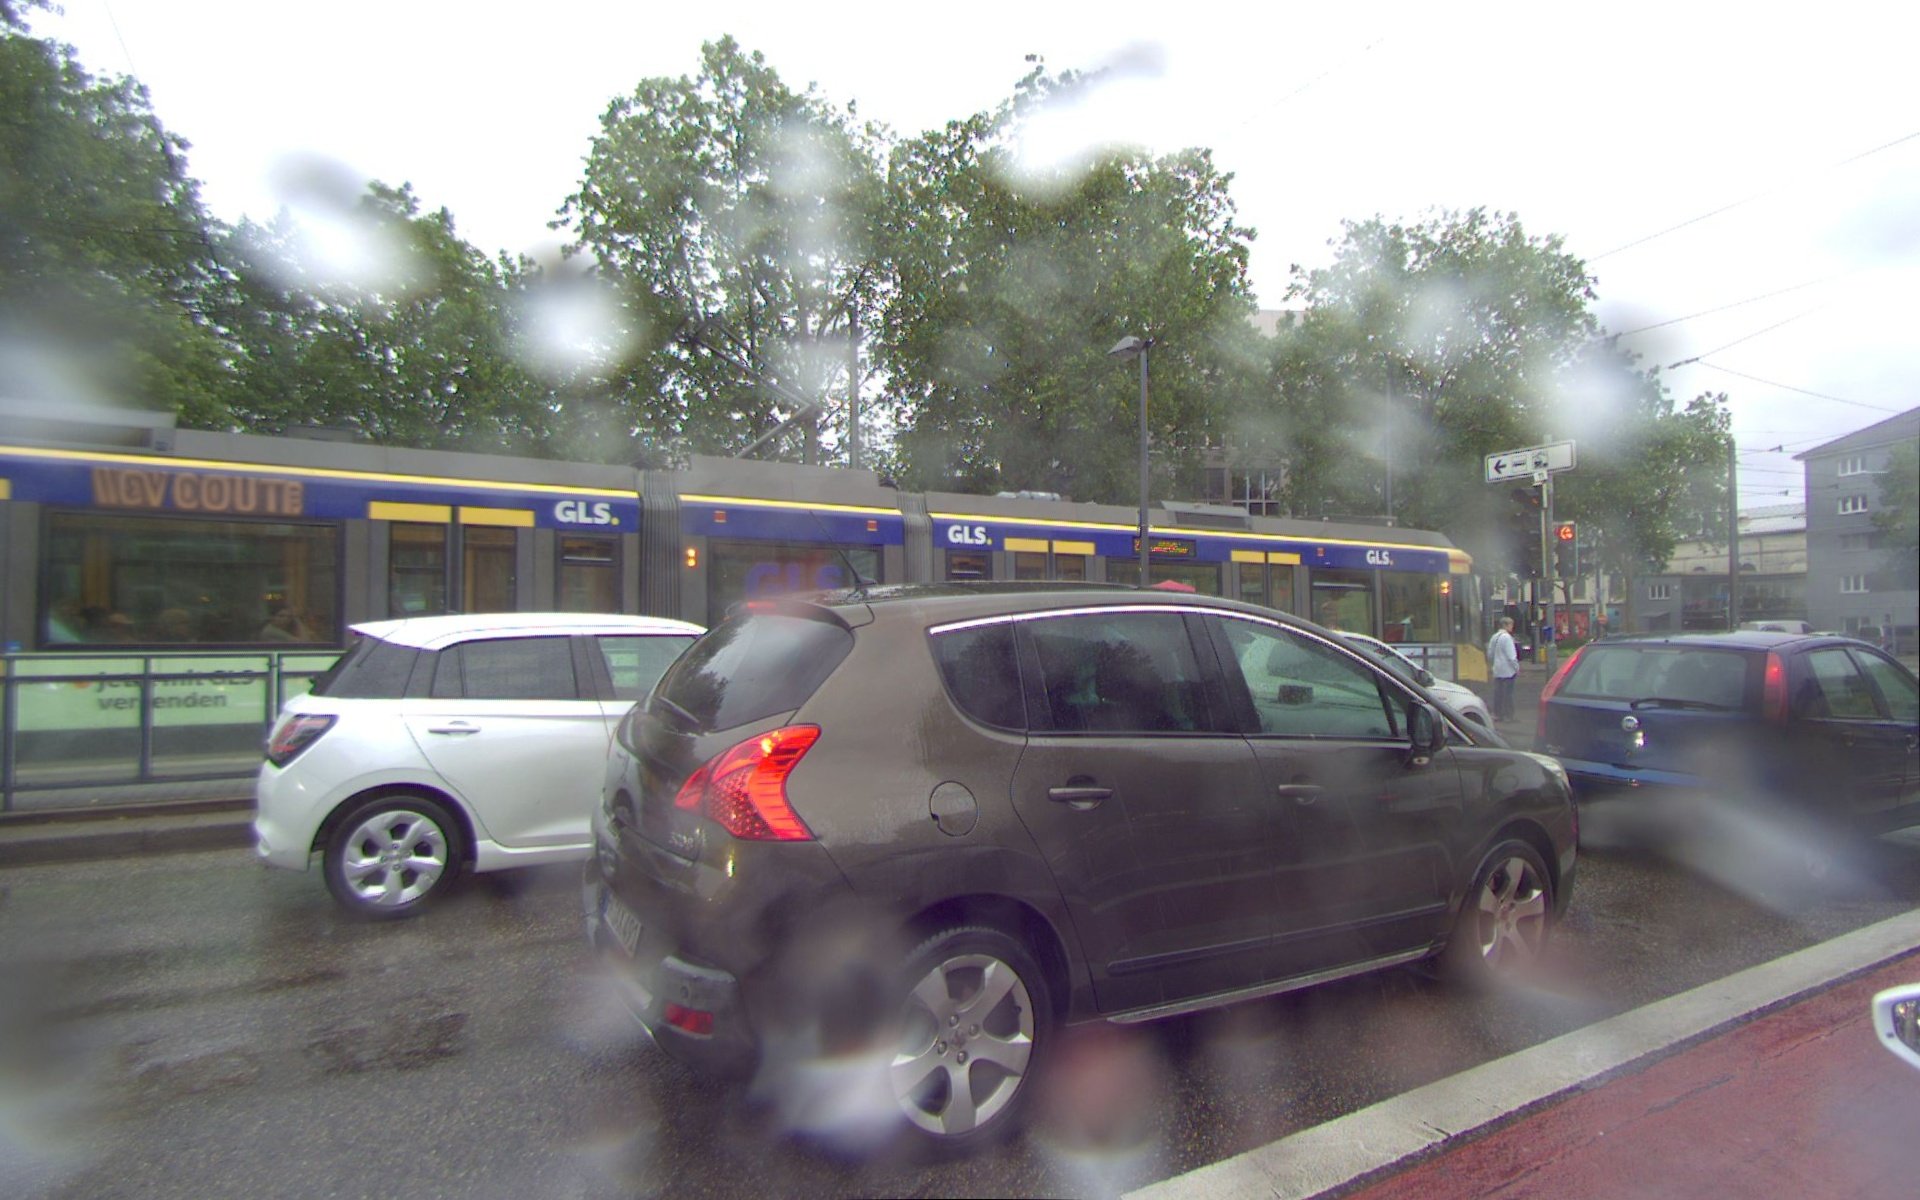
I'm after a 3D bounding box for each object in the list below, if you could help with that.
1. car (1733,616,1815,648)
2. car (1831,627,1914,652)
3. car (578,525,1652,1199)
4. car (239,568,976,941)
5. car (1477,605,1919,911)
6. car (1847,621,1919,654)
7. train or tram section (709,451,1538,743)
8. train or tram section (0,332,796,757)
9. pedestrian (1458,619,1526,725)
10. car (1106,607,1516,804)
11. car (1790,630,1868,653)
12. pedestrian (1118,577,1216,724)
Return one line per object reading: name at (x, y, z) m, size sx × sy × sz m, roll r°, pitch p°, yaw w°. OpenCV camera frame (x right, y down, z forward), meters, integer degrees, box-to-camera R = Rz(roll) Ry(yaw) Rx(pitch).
car at (59.647, 2.318, 73.647) m, size 4.698 × 2.228 × 1.998 m, roll 0°, pitch 1°, yaw -6°
car at (61.904, 2.670, 68.200) m, size 3.922 × 1.550 × 1.999 m, roll 0°, pitch 0°, yaw -3°
car at (0.773, 0.723, 4.112) m, size 4.124 × 1.690 × 1.825 m, roll 1°, pitch -1°, yaw -30°
car at (-1.943, 0.739, 6.126) m, size 3.791 × 1.650 × 1.637 m, roll 1°, pitch -2°, yaw -30°
car at (5.551, 0.877, 6.996) m, size 3.776 × 1.599 × 1.719 m, roll 1°, pitch -1°, yaw -30°
car at (60.860, 2.425, 65.749) m, size 3.923 × 2.040 × 1.999 m, roll 1°, pitch 0°, yaw -3°
train or tram section at (3.779, 0.111, 17.279) m, size 15.322 × 3.458 × 3.523 m, roll 1°, pitch 0°, yaw -30°
train or tram section at (-8.672, -0.482, 10.087) m, size 13.500 × 3.559 × 3.496 m, roll 1°, pitch 0°, yaw -31°
pedestrian at (8.416, 1.122, 15.897) m, size 0.731 × 1.628 × 0.623 m, roll 1°, pitch 0°, yaw -23°
car at (3.358, 0.869, 9.460) m, size 3.737 × 1.514 × 1.621 m, roll 1°, pitch -1°, yaw -30°
car at (61.321, 2.902, 70.904) m, size 3.922 × 1.516 × 1.960 m, roll 0°, pitch 0°, yaw -3°
pedestrian at (2.603, 0.633, 12.686) m, size 0.888 × 1.769 × 0.762 m, roll 0°, pitch -3°, yaw -30°
